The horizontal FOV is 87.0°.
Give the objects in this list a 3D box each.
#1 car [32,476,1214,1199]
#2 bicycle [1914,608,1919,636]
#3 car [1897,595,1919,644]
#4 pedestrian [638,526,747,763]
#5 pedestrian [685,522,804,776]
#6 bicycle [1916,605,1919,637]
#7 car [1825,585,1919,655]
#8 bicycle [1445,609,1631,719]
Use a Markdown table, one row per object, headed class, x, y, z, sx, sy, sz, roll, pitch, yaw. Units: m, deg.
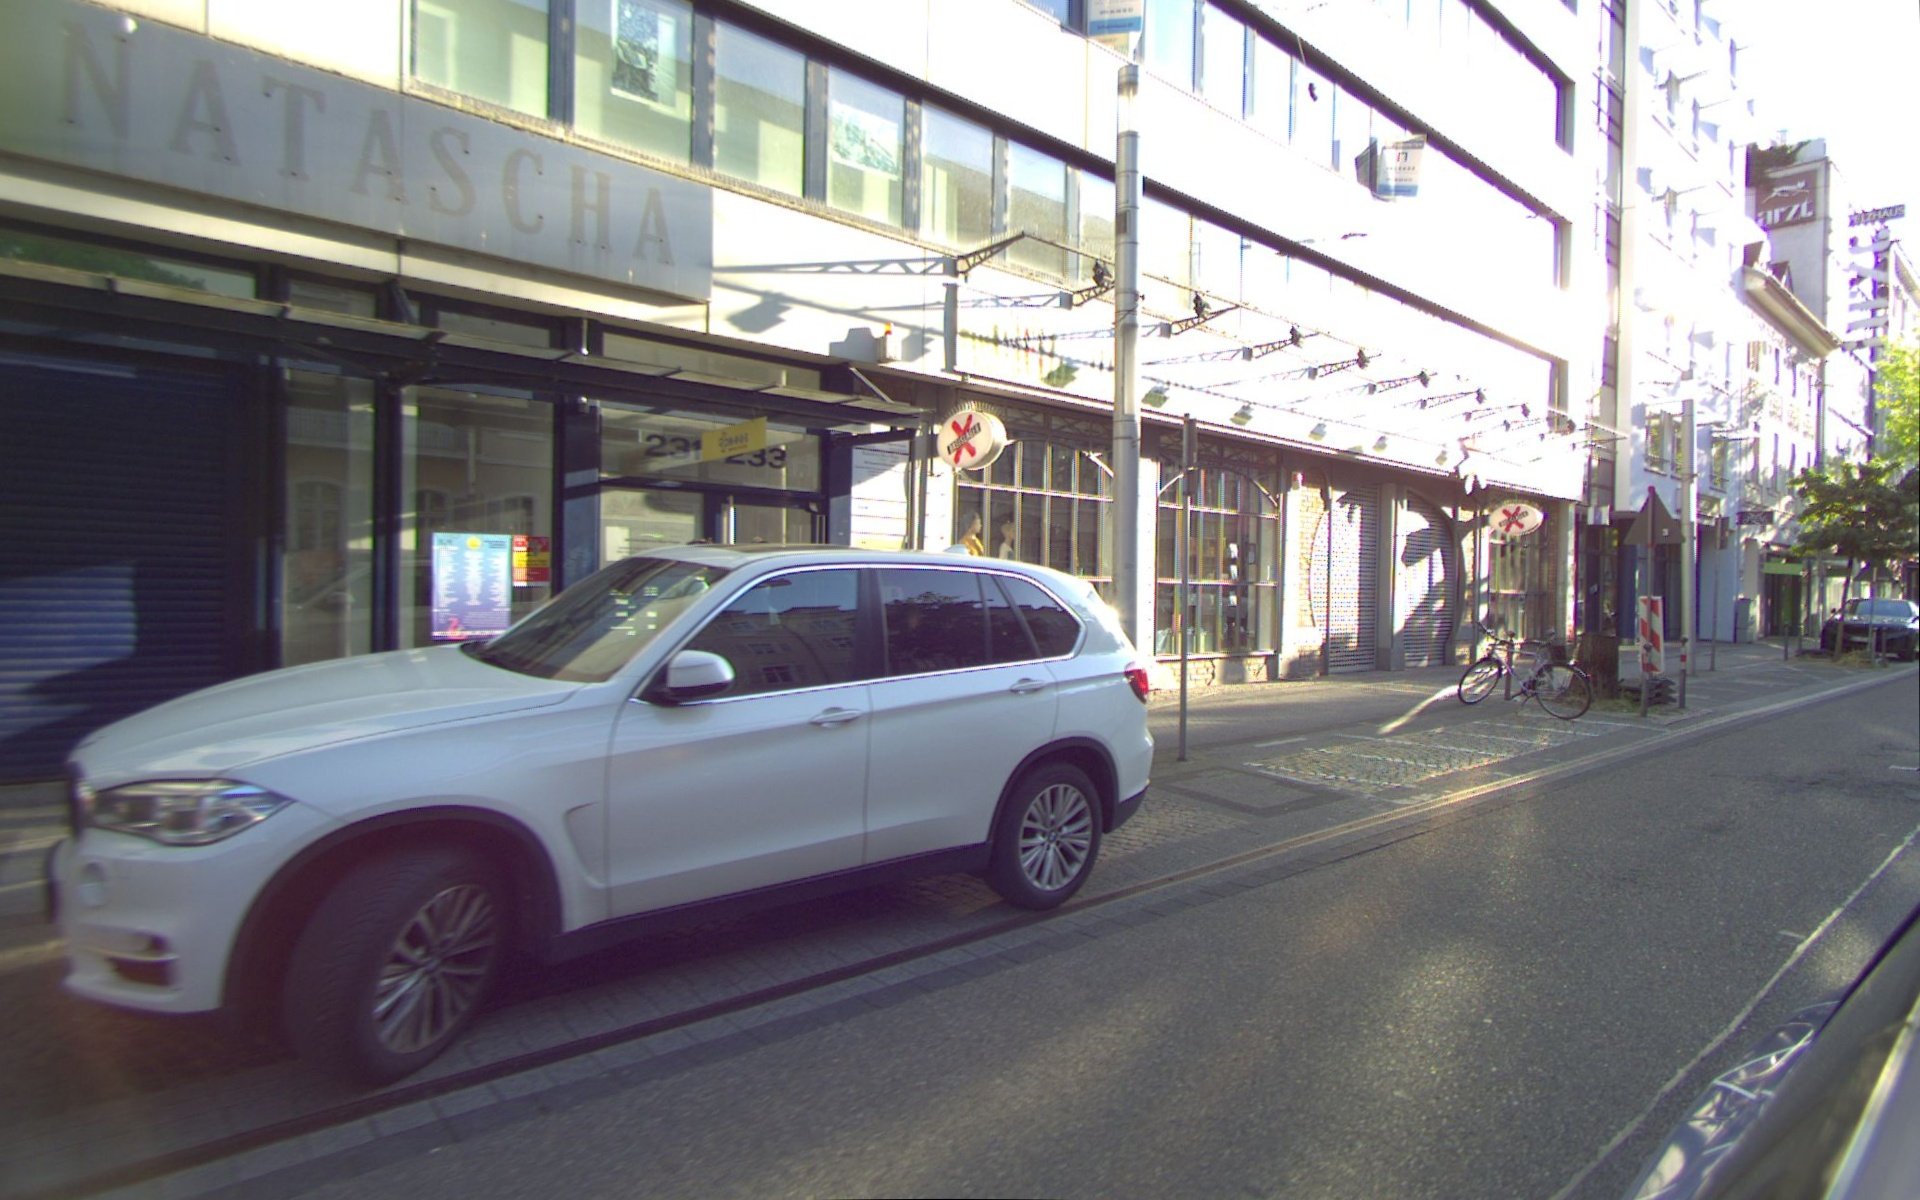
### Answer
| class | x | y | z | sx | sy | sz | roll | pitch | yaw |
| --- | --- | --- | --- | --- | --- | --- | --- | --- | --- |
| car | -1.084 | 0.518 | 4.800 | 4.822 | 1.758 | 2.027 | 0 | 4 | -42 |
| bicycle | 35.615 | 0.831 | 36.072 | 0.603 | 1.000 | 2.250 | 1 | 1 | -38 |
| car | 32.279 | 0.654 | 33.379 | 1.865 | 1.529 | 4.180 | 5 | 4 | 42 |
| pedestrian | -2.215 | 0.340 | 8.364 | 0.623 | 1.853 | 0.689 | 1 | 1 | -40 |
| pedestrian | -1.676 | 0.352 | 7.857 | 0.623 | 1.853 | 0.706 | 1 | 1 | -40 |
| bicycle | 37.125 | 0.811 | 37.551 | 0.737 | 1.203 | 2.326 | 1 | 1 | -38 |
| car | 26.252 | 0.523 | 28.568 | 4.787 | 1.709 | 1.985 | 0 | 3 | -40 |
| bicycle | 7.171 | 0.745 | 12.647 | 0.824 | 1.148 | 1.821 | 0 | 3 | -32 |
